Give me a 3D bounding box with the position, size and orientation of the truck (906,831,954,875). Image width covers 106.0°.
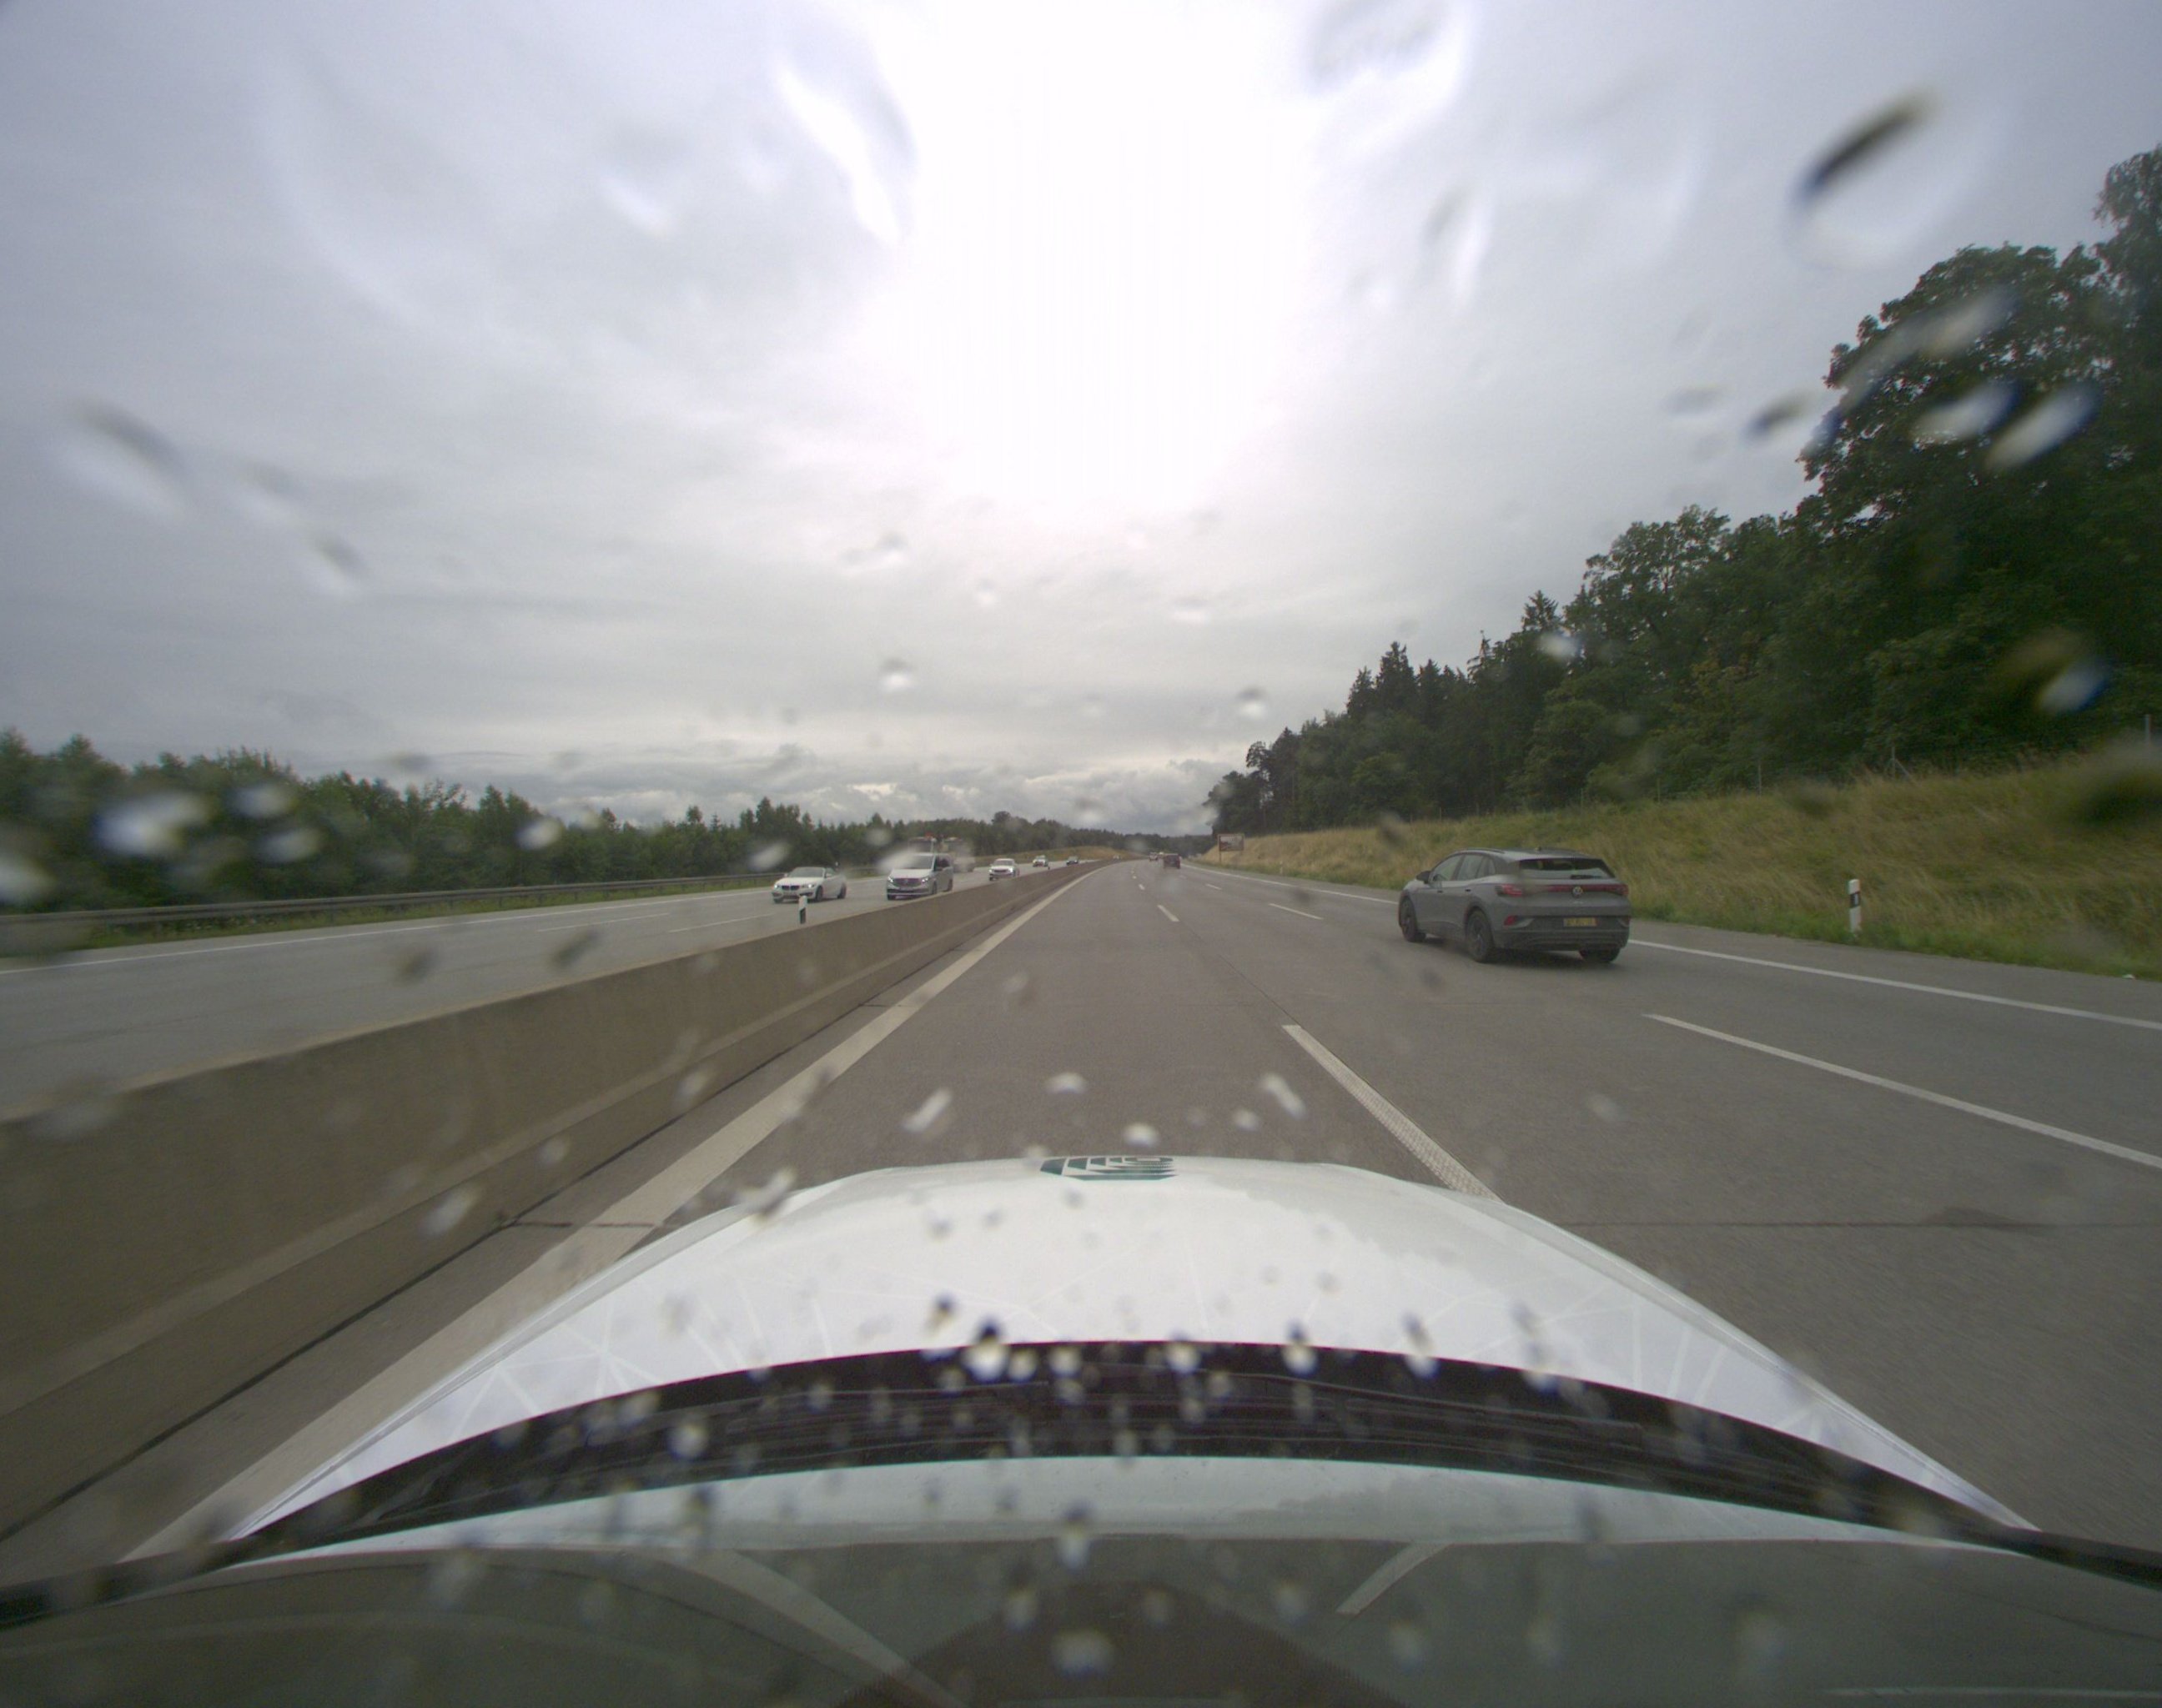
[{"bbox_3d":[-13.517,-0.099,73.391,2.576,3.652,7.664,-1,0,2],"label":"truck"}]

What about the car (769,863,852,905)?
[{"bbox_3d":[-10.734,1.139,32.641,1.729,1.367,4.101,2,1,3],"label":"car"}]

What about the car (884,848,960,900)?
[{"bbox_3d":[-6.667,0.770,34.829,1.986,2.013,5.527,0,1,2],"label":"car"}]

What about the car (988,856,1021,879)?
[{"bbox_3d":[-5.371,0.940,57.534,1.707,1.420,4.217,2,1,3],"label":"car"}]

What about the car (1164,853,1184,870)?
[{"bbox_3d":[10.466,0.841,91.840,1.778,1.746,3.917,-4,1,2],"label":"car"}]

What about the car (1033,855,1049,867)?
[{"bbox_3d":[-5.711,0.936,116.328,1.754,1.586,4.763,0,1,4],"label":"car"}]

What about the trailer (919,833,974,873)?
[{"bbox_3d":[-13.186,-0.072,81.225,2.576,3.543,13.730,-2,0,2],"label":"trailer"}]

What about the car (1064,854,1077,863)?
[{"bbox_3d":[-1.645,0.701,130.268,1.756,1.267,4.494,-3,-2,1],"label":"car"}]

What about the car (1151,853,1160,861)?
[{"bbox_3d":[17.260,0.732,189.614,1.834,1.500,4.002,-4,1,2],"label":"car"}]

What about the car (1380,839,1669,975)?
[{"bbox_3d":[6.519,0.624,12.838,1.890,1.689,5.270,0,1,2],"label":"car"}]
